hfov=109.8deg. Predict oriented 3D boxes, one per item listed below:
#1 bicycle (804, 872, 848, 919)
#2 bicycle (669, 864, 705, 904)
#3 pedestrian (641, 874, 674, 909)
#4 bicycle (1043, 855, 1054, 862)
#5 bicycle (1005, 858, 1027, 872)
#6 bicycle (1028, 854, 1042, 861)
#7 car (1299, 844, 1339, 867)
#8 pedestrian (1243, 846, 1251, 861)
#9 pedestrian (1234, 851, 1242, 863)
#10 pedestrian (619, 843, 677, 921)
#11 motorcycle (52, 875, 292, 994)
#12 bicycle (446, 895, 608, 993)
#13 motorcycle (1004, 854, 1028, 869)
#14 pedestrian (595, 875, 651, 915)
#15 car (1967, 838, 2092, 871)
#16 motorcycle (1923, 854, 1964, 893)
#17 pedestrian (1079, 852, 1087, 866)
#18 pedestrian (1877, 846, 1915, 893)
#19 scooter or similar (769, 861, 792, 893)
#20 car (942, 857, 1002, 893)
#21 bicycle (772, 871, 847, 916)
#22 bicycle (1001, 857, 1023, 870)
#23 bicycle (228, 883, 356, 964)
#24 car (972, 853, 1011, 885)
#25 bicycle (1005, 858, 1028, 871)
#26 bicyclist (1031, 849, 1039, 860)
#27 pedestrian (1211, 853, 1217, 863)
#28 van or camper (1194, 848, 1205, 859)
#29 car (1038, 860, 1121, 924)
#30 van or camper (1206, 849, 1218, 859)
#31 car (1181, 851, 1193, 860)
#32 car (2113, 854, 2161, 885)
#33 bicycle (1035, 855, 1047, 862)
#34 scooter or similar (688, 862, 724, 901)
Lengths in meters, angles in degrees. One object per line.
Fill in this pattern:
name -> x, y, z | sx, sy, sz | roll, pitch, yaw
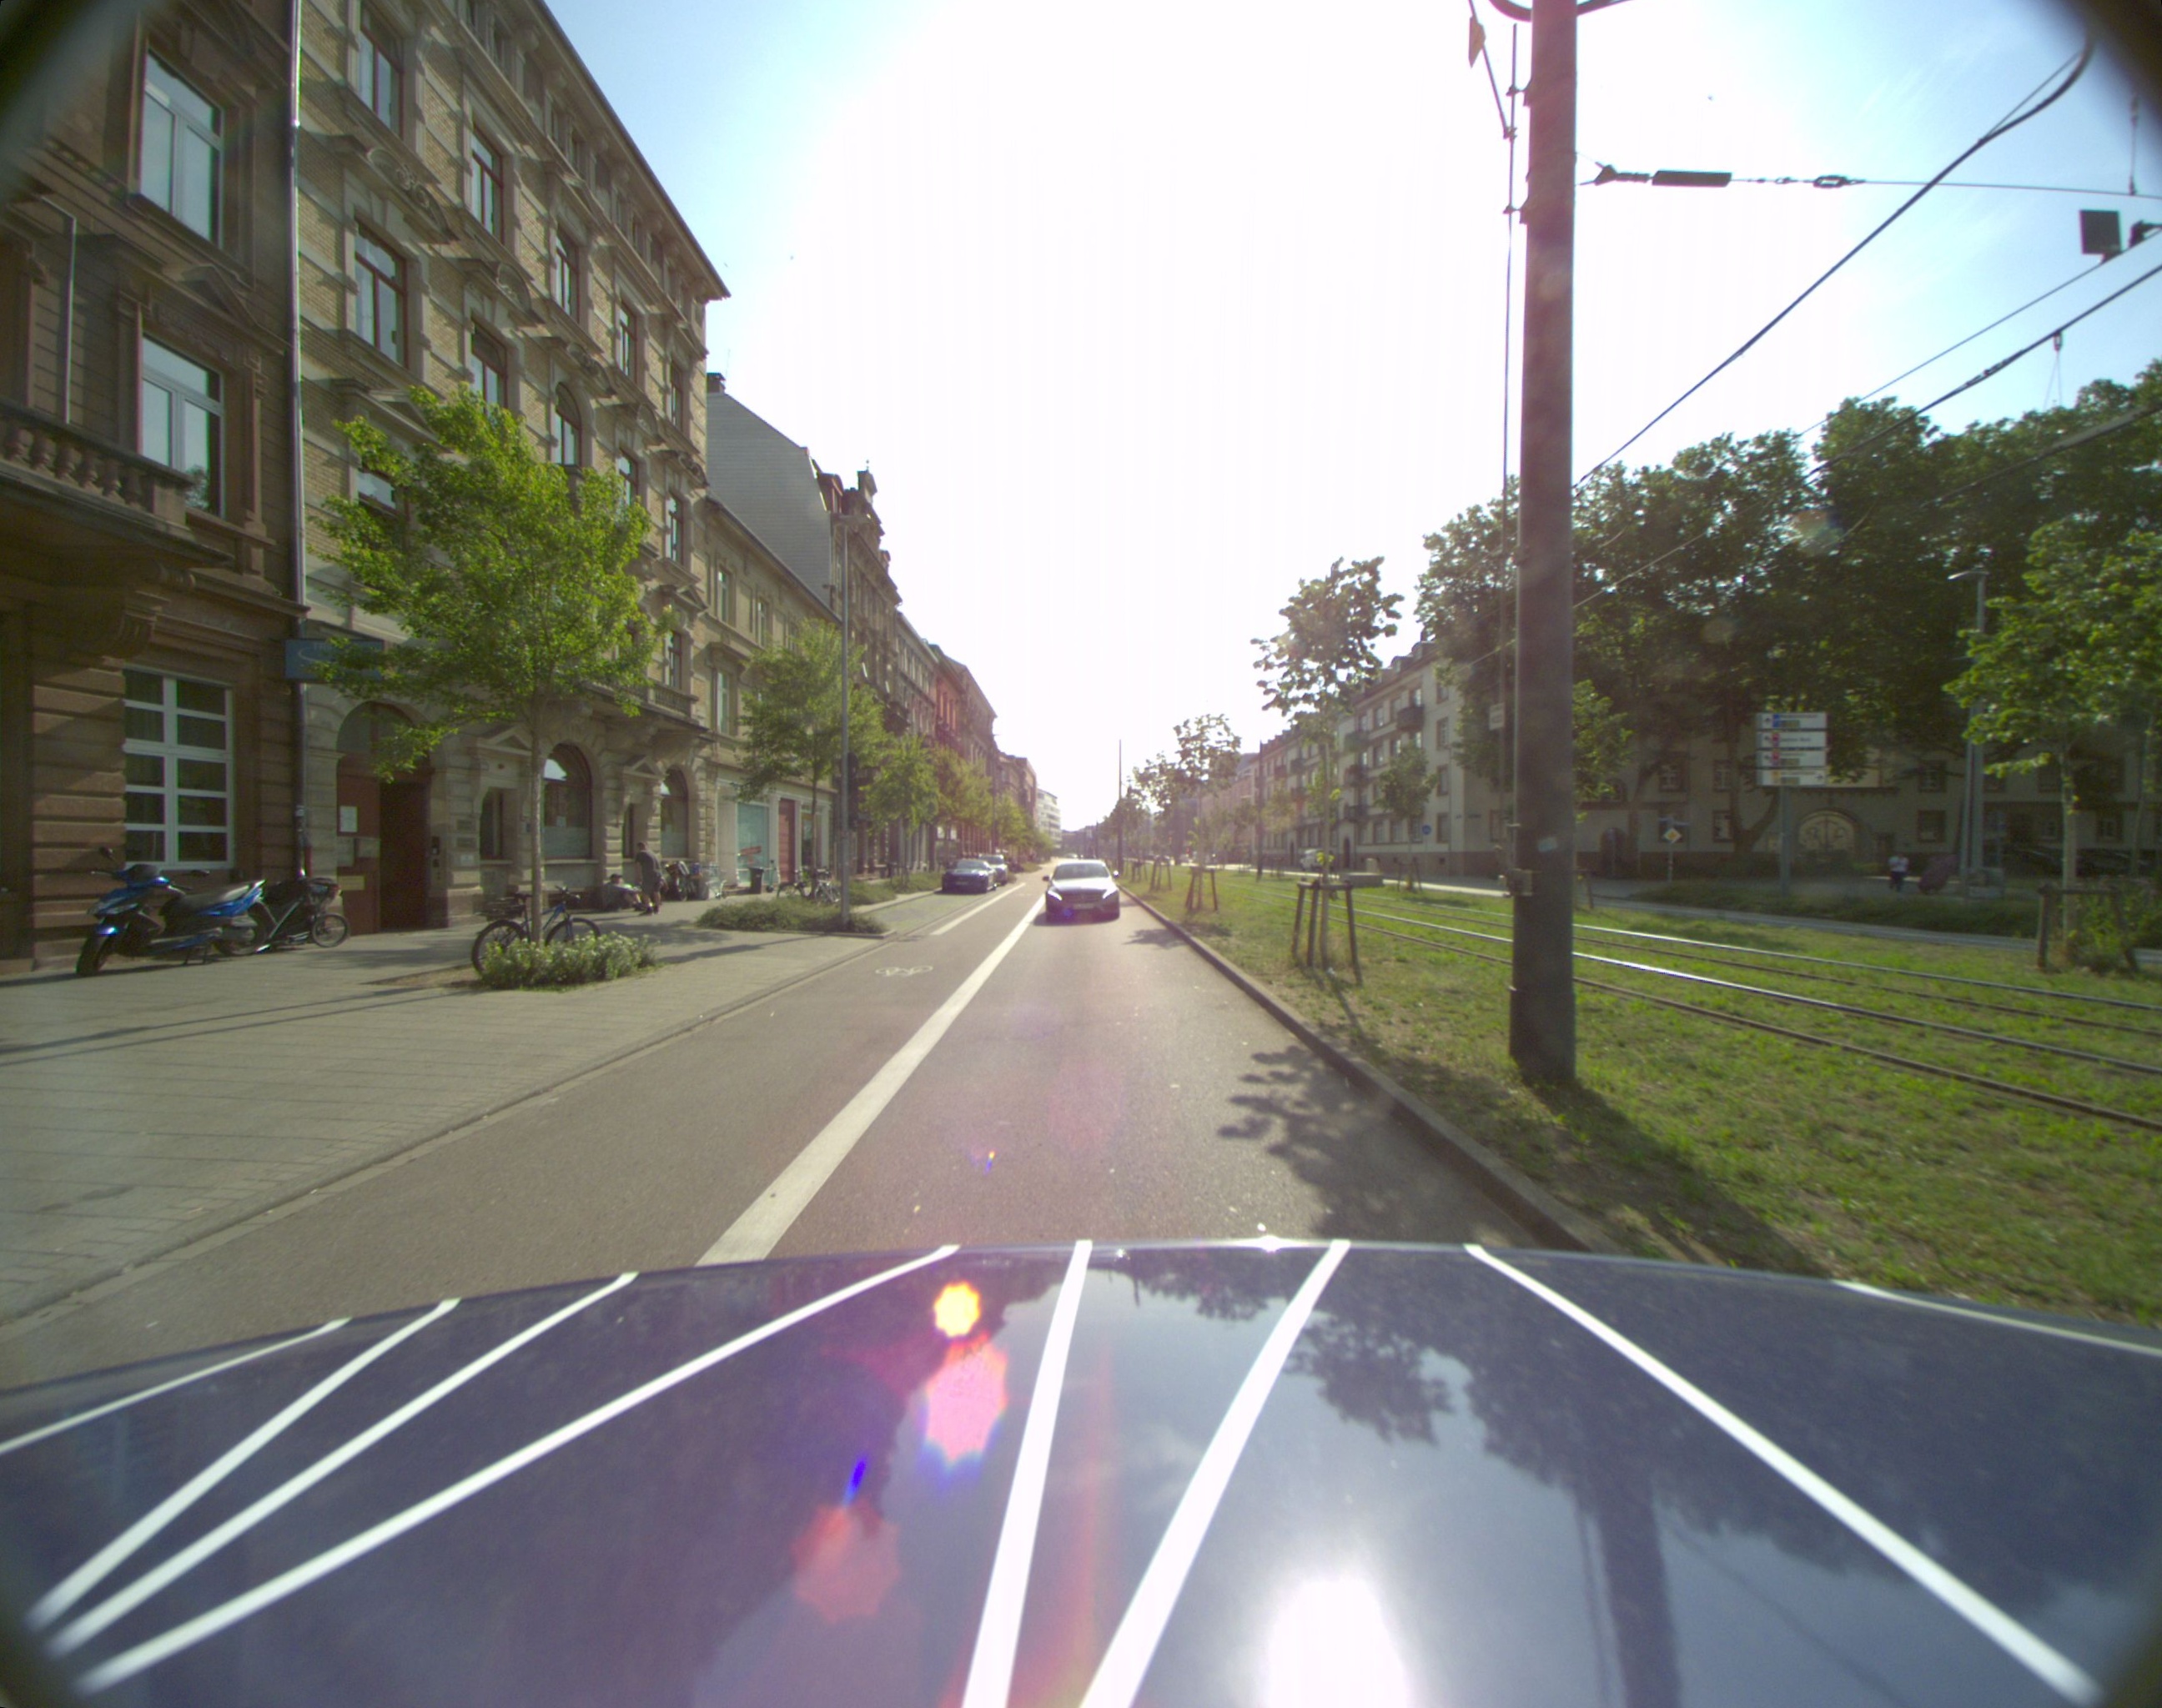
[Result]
bicycle -> -6.513, 1.038, 19.518 | 0.494, 1.087, 1.826 | 0, 0, 0
bicycle -> -11.268, 0.842, 21.756 | 0.452, 1.077, 1.447 | 0, 0, -9
pedestrian -> -10.880, 0.963, 19.528 | 0.572, 0.850, 0.457 | 2, 0, -5
bicycle -> -5.455, 0.825, 127.185 | 1.761, 1.081, 0.610 | 3, 1, -9
bicycle -> -5.278, 0.909, 61.858 | 1.789, 1.048, 0.372 | 1, 1, -1
bicycle -> -5.969, 0.462, 98.580 | 1.780, 0.947, 0.508 | 2, 0, 23
car -> 21.059, 0.159, 67.457 | 1.998, 1.907, 5.153 | -2, 0, 1
pedestrian -> 23.511, -0.055, 107.617 | 0.844, 2.056, 1.157 | -1, 1, 1
pedestrian -> 25.762, 0.517, 124.656 | 1.073, 1.857, 0.862 | -1, 1, -27
pedestrian -> -9.660, 0.605, 16.977 | 0.825, 1.687, 0.793 | 2, 1, -4
motorcycle -> -10.555, 0.872, 8.950 | 0.464, 1.169, 1.945 | 2, 1, 1
bicycle -> -6.993, 1.094, 9.701 | 0.505, 1.054, 1.715 | 2, 0, 15
motorcycle -> -5.802, 0.693, 67.681 | 2.046, 1.279, 0.703 | 2, 0, -36
pedestrian -> -10.733, 0.955, 17.832 | 0.880, 0.871, 0.711 | 2, 0, -3
car -> 53.178, 0.018, 42.719 | 1.999, 1.739, 4.000 | 0, 0, 0
motorcycle -> 31.498, 0.702, 27.739 | 2.301, 1.361, 0.816 | -1, 1, -37
pedestrian -> 0.234, 0.654, 101.944 | 0.992, 1.795, 0.864 | 1, -1, 0
pedestrian -> 29.751, 0.556, 27.747 | 0.737, 1.668, 0.676 | 0, 1, -16
scooter or similar -> -10.828, 0.819, 27.362 | 0.289, 1.127, 1.089 | 0, 0, 6
car -> -4.608, 0.867, 32.774 | 1.740, 1.388, 4.715 | 1, 0, 2
bicycle -> -7.257, 1.038, 20.407 | 0.453, 1.076, 1.881 | 2, 3, 42
bicycle -> -5.742, 0.789, 63.585 | 1.812, 1.089, 0.671 | 1, 0, -5
bicycle -> -11.007, 0.947, 10.651 | 0.397, 1.012, 1.255 | 0, 1, 6
car -> -4.726, 0.761, 40.579 | 1.774, 1.579, 4.246 | 1, 0, -3
bicycle -> -5.273, 0.871, 62.263 | 1.789, 1.048, 0.372 | 1, 1, -1
bicyclist -> -5.958, 0.059, 98.553 | 0.929, 1.473, 0.586 | 2, 1, 23
pedestrian -> 19.748, 0.598, 113.002 | 0.807, 1.574, 0.680 | 0, 1, 1
van or camper -> 30.357, -0.128, 194.362 | 1.998, 2.786, 5.352 | 0, 0, 0
car -> -0.041, 0.900, 19.861 | 1.907, 1.384, 4.235 | -1, 1, 0
van or camper -> 24.915, -0.034, 144.650 | 1.934, 1.956, 4.001 | 0, 0, 4
car -> 22.774, 0.370, 163.341 | 1.998, 1.884, 5.047 | 0, 0, 2
car -> 50.790, 0.705, 34.915 | 3.997, 1.368, 2.000 | 0, 0, 0
bicycle -> -6.498, 0.678, 124.272 | 1.763, 1.081, 0.671 | 3, 1, -23
scooter or similar -> -11.350, 0.819, 22.995 | 0.608, 1.118, 0.931 | 0, 1, 0
